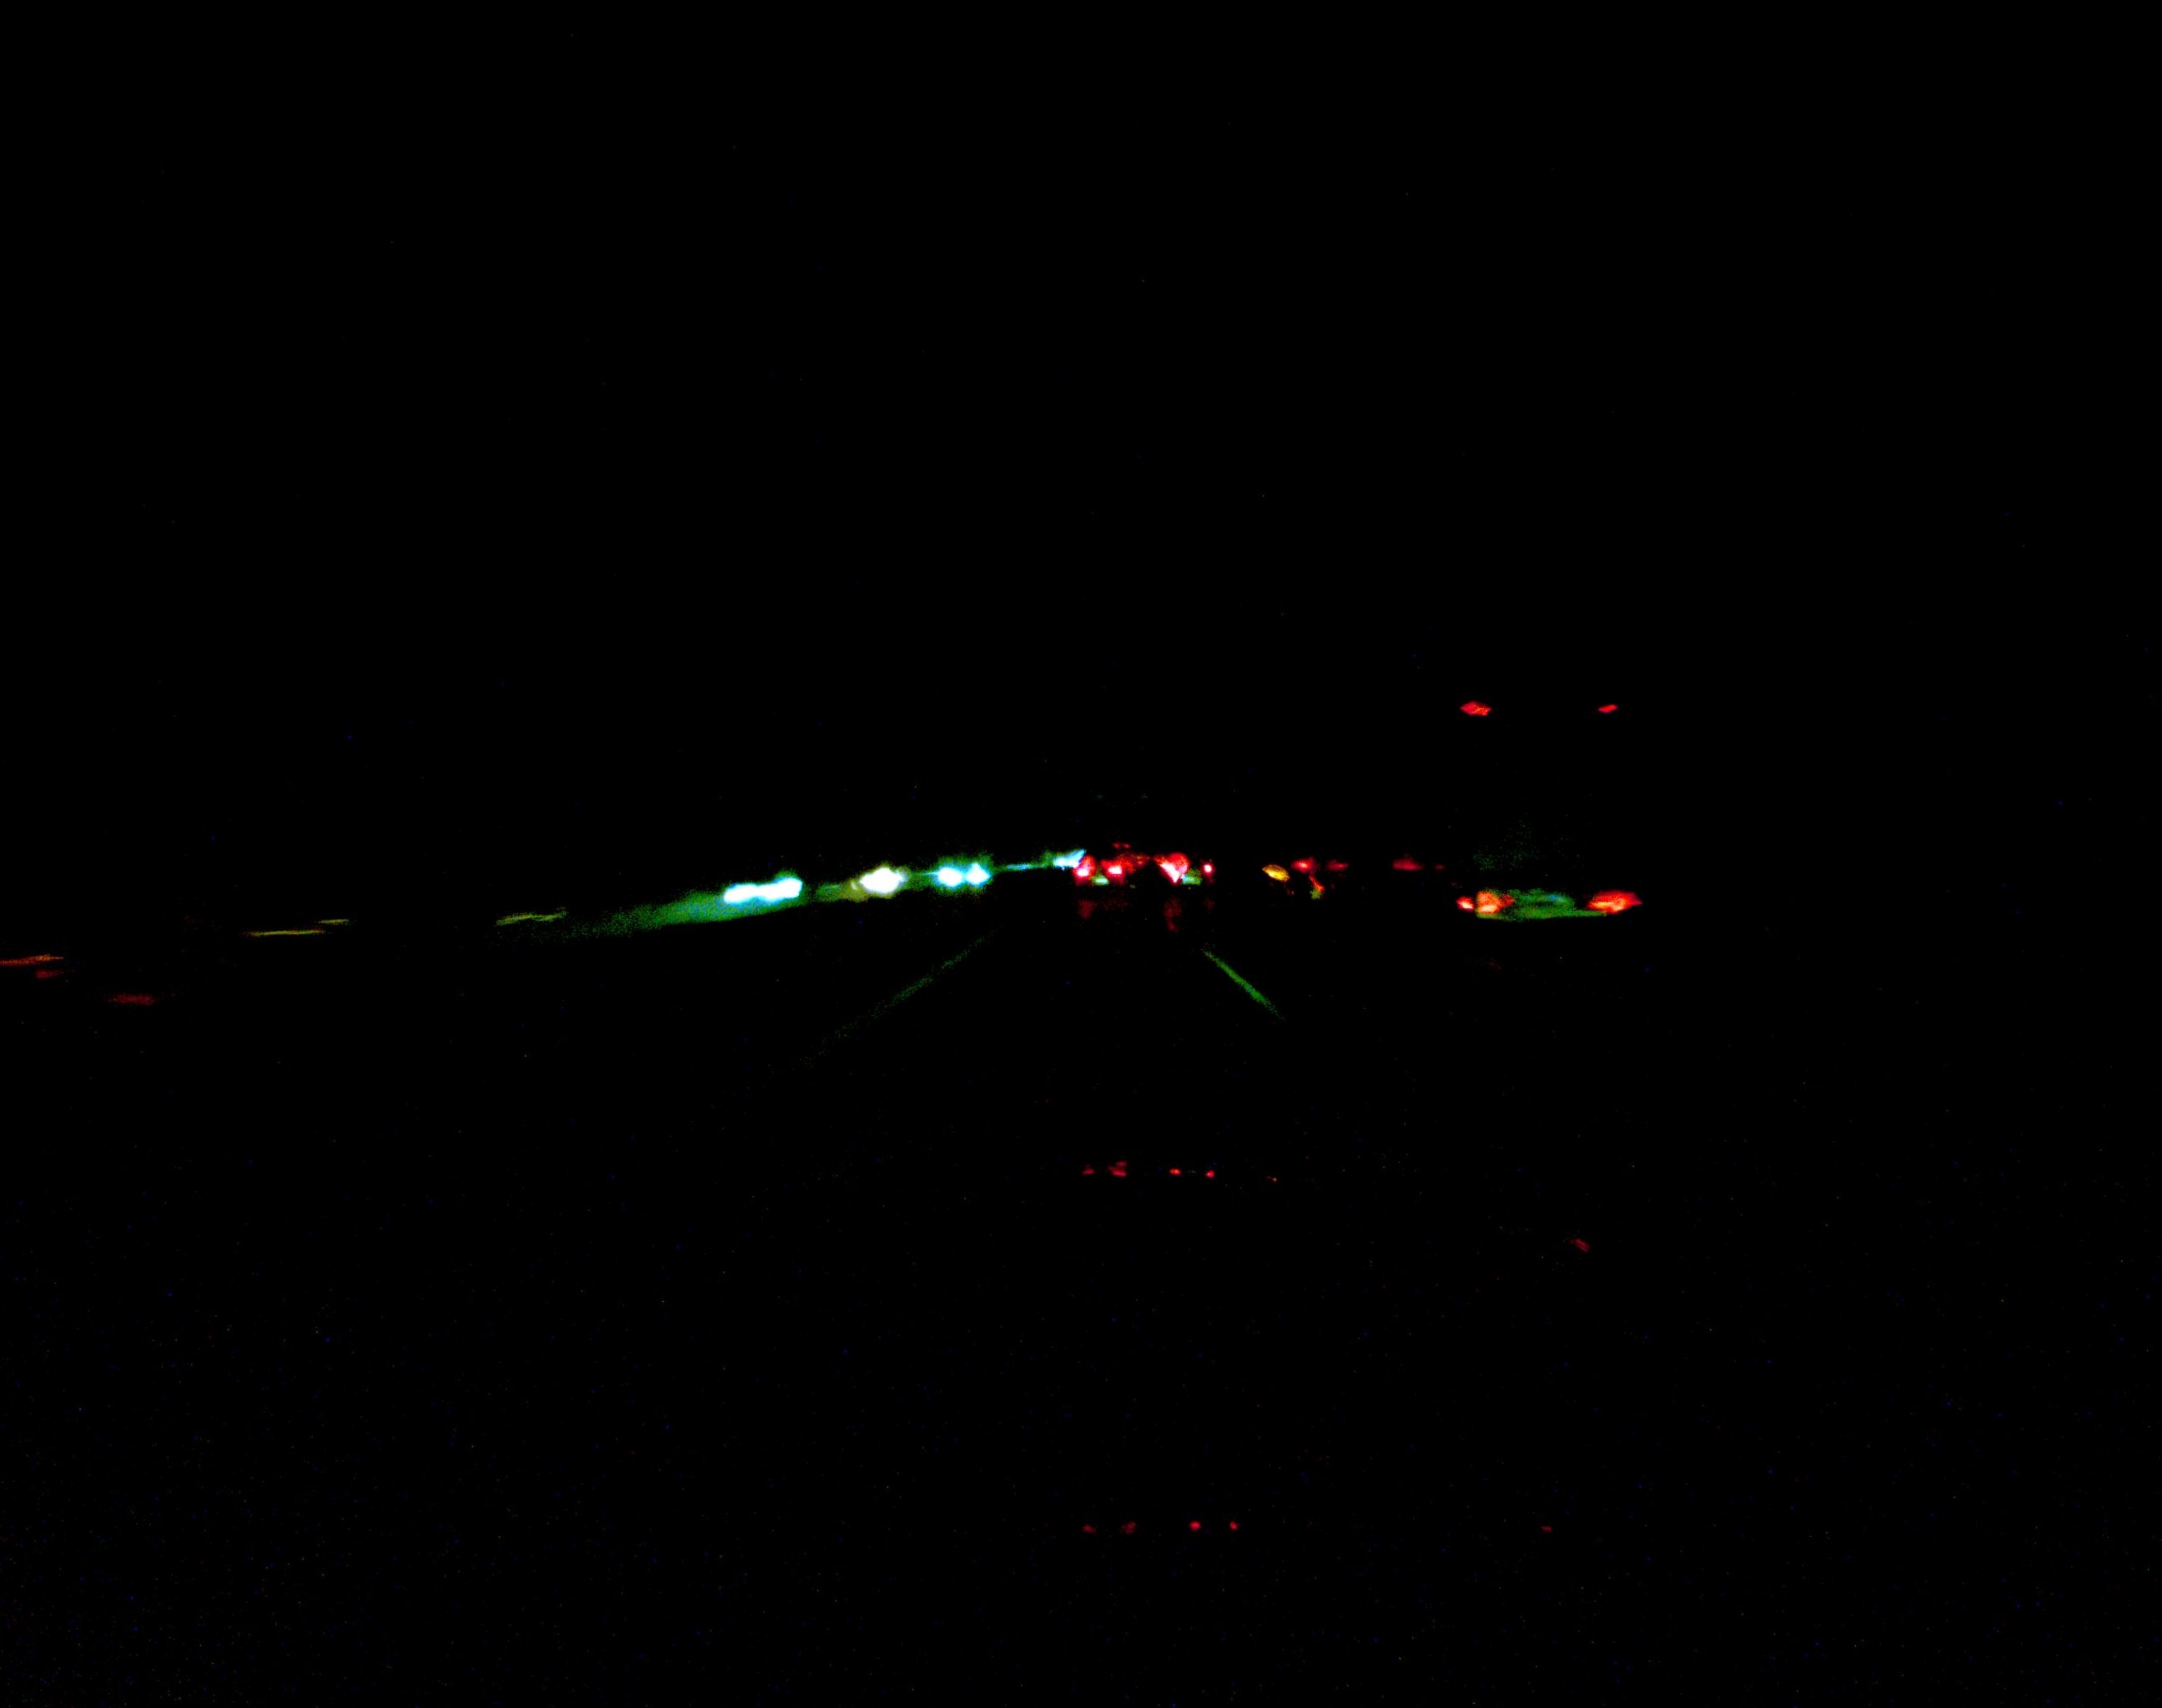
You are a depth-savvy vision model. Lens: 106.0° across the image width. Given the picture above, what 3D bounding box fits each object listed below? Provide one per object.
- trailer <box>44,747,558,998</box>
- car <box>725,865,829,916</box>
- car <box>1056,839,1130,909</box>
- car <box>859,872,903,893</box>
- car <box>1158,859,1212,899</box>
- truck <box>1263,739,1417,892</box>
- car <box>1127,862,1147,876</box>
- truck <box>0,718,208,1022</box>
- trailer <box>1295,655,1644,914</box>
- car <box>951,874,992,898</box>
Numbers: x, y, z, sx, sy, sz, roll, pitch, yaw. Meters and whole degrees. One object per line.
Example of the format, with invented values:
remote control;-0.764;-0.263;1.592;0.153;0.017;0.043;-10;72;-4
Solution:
trailer;-16.648;0.369;18.834;2.929;4.277;8.939;-3;-1;2
car;-11.702;1.343;31.771;2.055;1.824;4.882;0;-1;2
car;0.456;0.756;33.978;2.701;2.534;5.830;-3;0;0
car;-15.256;2.141;62.391;1.986;1.501;4.967;0;-1;2
car;4.329;1.002;34.516;1.877;1.588;4.001;-1;0;1
truck;8.136;-1.069;26.667;2.793;4.267;7.450;-1;0;1
car;6.483;1.766;94.627;2.128;1.618;4.002;0;-1;2
truck;-16.952;0.266;8.506;2.920;4.327;11.440;-3;-1;2
trailer;7.935;-1.122;19.369;2.793;4.212;12.100;-1;0;1
car;-7.179;2.076;53.638;1.957;1.475;4.448;0;-1;2
